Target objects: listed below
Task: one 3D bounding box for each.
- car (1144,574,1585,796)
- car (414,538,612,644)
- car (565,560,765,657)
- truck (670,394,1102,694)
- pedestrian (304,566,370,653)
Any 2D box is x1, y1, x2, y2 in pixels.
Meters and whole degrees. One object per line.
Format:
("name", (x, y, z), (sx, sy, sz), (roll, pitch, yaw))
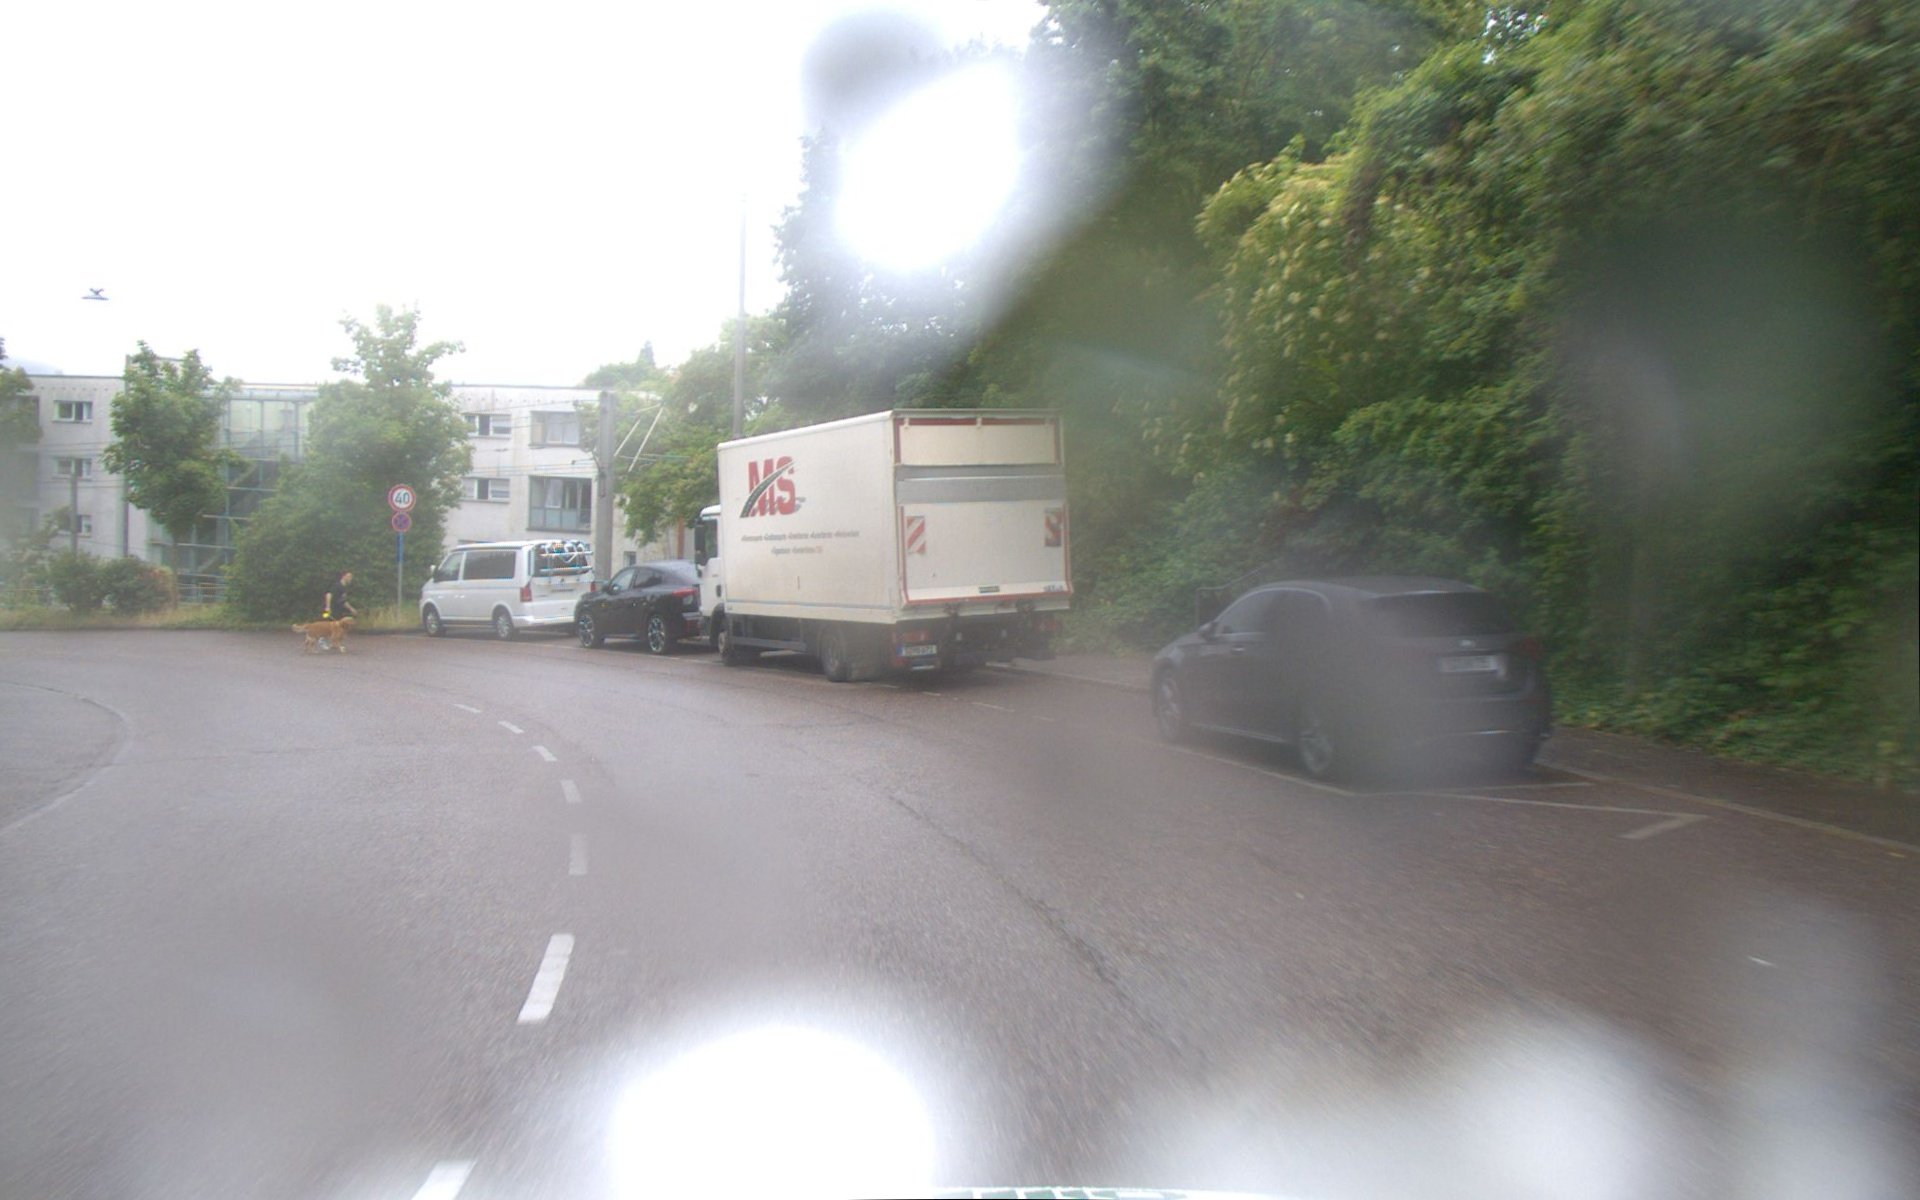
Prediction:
("car", (3.076, 0.548, 13.509), (1.693, 1.469, 4.107), (-1, 1, -16))
("car", (-9.536, -0.216, 35.091), (4.609, 2.048, 1.871), (0, 3, 43))
("car", (-5.491, 0.118, 30.449), (1.708, 1.582, 4.214), (-4, 3, -40))
("truck", (-1.465, -0.801, 24.393), (2.974, 3.635, 8.257), (-3, 2, -28))
("pedestrian", (-12.612, 0.185, 33.495), (0.903, 1.690, 0.806), (-2, 3, 4))
